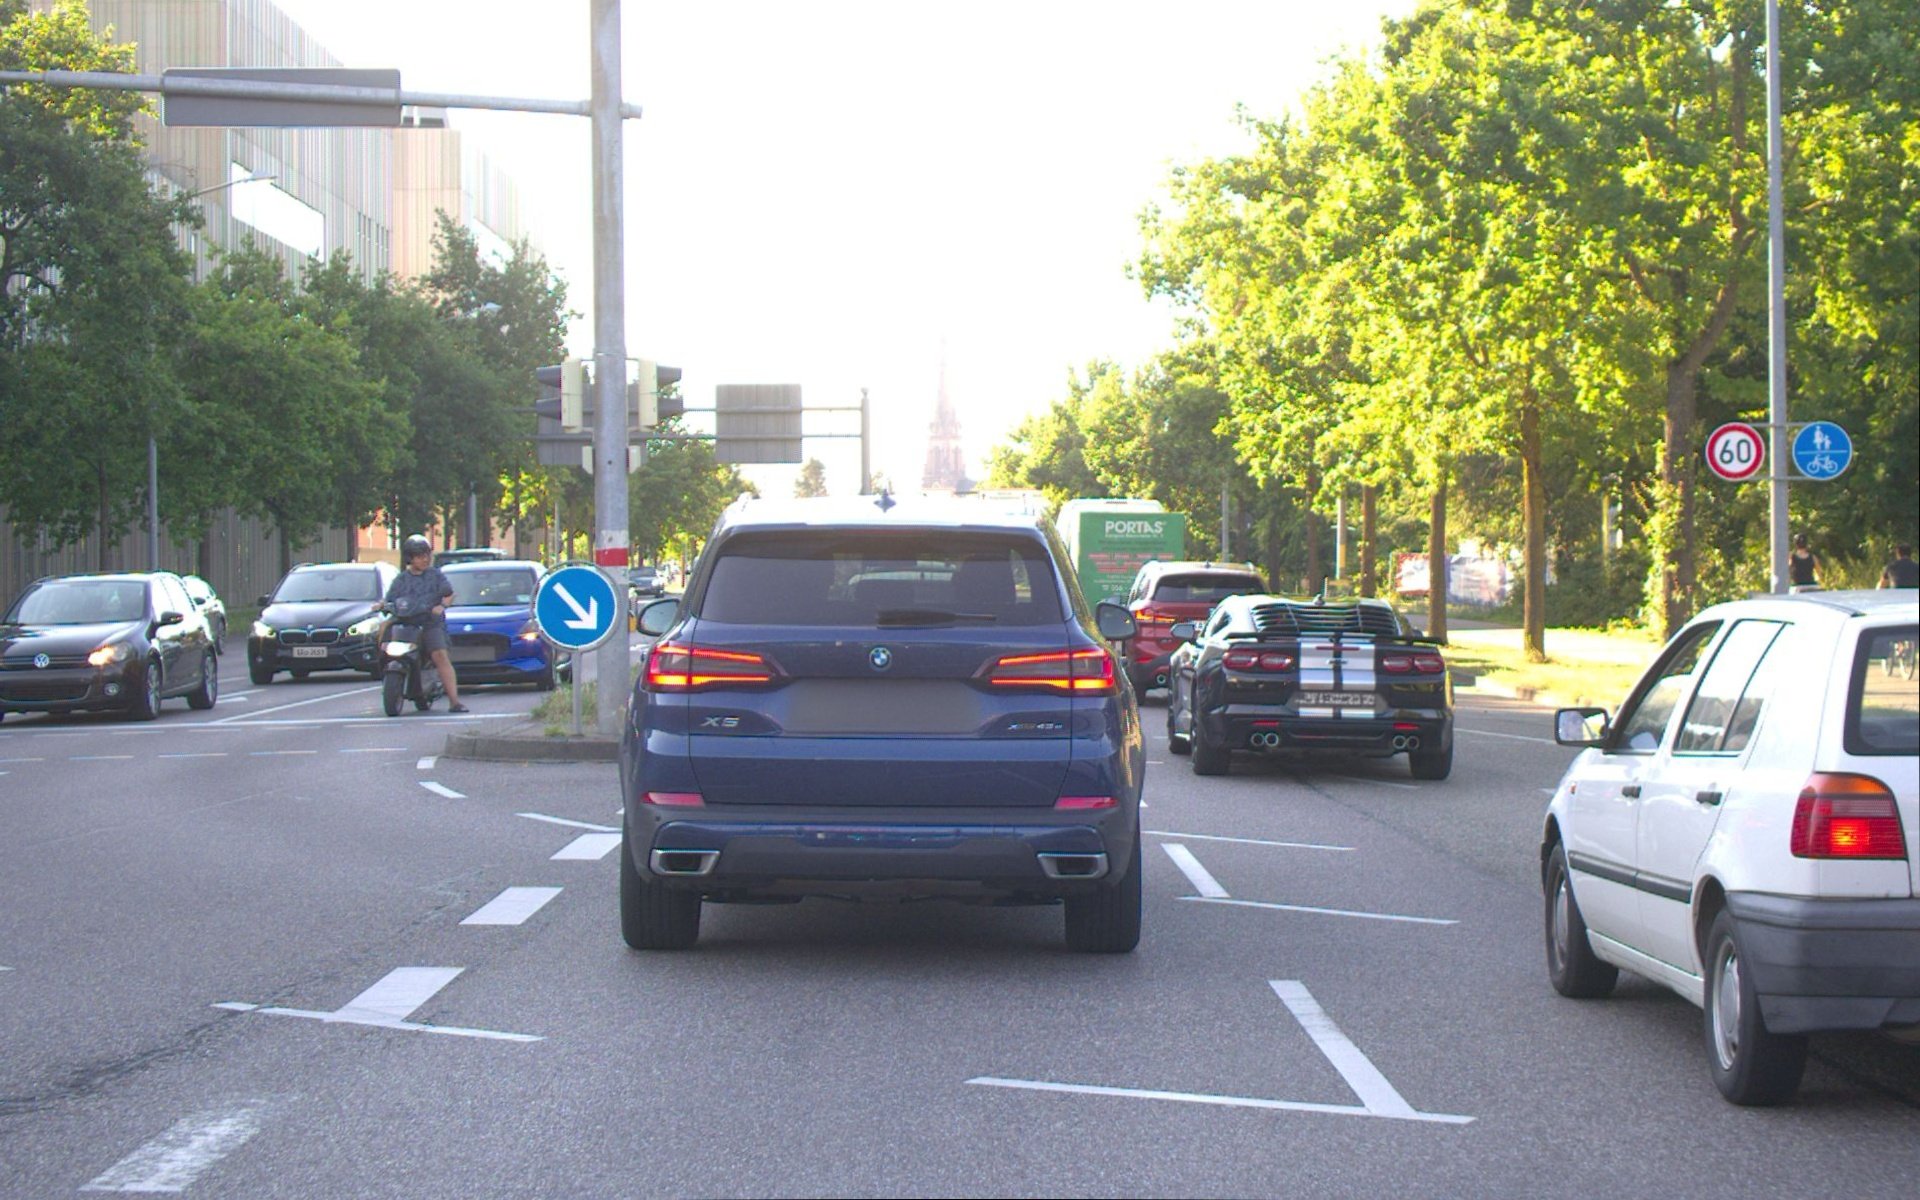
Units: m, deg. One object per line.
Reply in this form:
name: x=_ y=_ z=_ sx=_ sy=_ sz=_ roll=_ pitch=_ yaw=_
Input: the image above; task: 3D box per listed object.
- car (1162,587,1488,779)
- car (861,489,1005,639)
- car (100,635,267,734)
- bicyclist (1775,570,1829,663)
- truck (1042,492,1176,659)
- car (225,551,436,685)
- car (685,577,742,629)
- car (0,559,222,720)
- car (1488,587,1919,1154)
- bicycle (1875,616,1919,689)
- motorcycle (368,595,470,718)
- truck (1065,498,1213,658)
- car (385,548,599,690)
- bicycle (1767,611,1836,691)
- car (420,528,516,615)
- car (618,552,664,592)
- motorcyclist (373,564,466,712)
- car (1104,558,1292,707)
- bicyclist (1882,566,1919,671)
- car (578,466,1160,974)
car: x=2.667 y=0.592 z=25.990 sx=1.993 sy=1.290 sz=4.000 roll=1 pitch=0 yaw=0
car: x=-0.541 y=-0.611 z=62.478 sx=2.136 sy=2.567 sz=5.087 roll=2 pitch=0 yaw=-5
car: x=-13.986 y=1.499 z=62.174 sx=1.993 sy=1.586 sz=4.715 roll=-3 pitch=0 yaw=-2
bicyclist: x=12.084 y=0.234 z=49.350 sx=0.543 sy=1.311 sz=0.835 roll=1 pitch=-1 yaw=0
truck: x=2.454 y=-0.385 z=57.612 sx=1.996 sy=2.659 sz=4.000 roll=1 pitch=0 yaw=0
car: x=-8.378 y=0.241 z=46.142 sx=1.993 sy=1.586 sz=4.715 roll=-3 pitch=0 yaw=-2
car: x=-9.068 y=0.133 z=126.744 sx=1.756 sy=1.771 sz=4.494 roll=-4 pitch=0 yaw=-1
car: x=-8.805 y=0.373 z=34.434 sx=1.993 sy=1.470 sz=4.080 roll=2 pitch=0 yaw=-1
car: x=2.789 y=0.707 z=10.653 sx=1.578 sy=1.408 sz=4.062 roll=1 pitch=0 yaw=-1
bicycle: x=11.891 y=0.658 z=43.287 sx=0.437 sy=0.911 sz=1.026 roll=1 pitch=-1 yaw=0
motorcycle: x=-5.169 y=0.519 z=32.963 sx=0.839 sy=1.072 sz=2.401 roll=-2 pitch=1 yaw=-7
truck: x=2.697 y=-0.308 z=52.721 sx=1.996 sy=2.307 sz=4.000 roll=1 pitch=0 yaw=0
car: x=-5.310 y=0.214 z=39.438 sx=1.702 sy=1.447 sz=3.857 roll=-4 pitch=0 yaw=2
bicycle: x=12.074 y=0.723 z=49.345 sx=0.564 sy=1.108 sz=1.621 roll=1 pitch=0 yaw=0
car: x=-12.041 y=-0.725 z=84.344 sx=1.794 sy=1.972 sz=3.994 roll=-3 pitch=1 yaw=-2
car: x=-15.182 y=-1.319 z=163.870 sx=1.756 sy=1.699 sz=4.494 roll=-4 pitch=0 yaw=-1
motorcyclist: x=-5.193 y=0.351 z=33.095 sx=0.797 sy=1.345 sz=1.275 roll=-2 pitch=2 yaw=-7
car: x=2.633 y=0.361 z=38.839 sx=1.796 sy=1.553 sz=4.000 roll=1 pitch=0 yaw=0
bicyclist: x=11.914 y=0.231 z=43.351 sx=0.427 sy=1.304 sz=0.460 roll=1 pitch=-1 yaw=0
car: x=-0.326 y=0.437 z=14.306 sx=1.993 sy=1.728 sz=4.532 roll=1 pitch=0 yaw=0
